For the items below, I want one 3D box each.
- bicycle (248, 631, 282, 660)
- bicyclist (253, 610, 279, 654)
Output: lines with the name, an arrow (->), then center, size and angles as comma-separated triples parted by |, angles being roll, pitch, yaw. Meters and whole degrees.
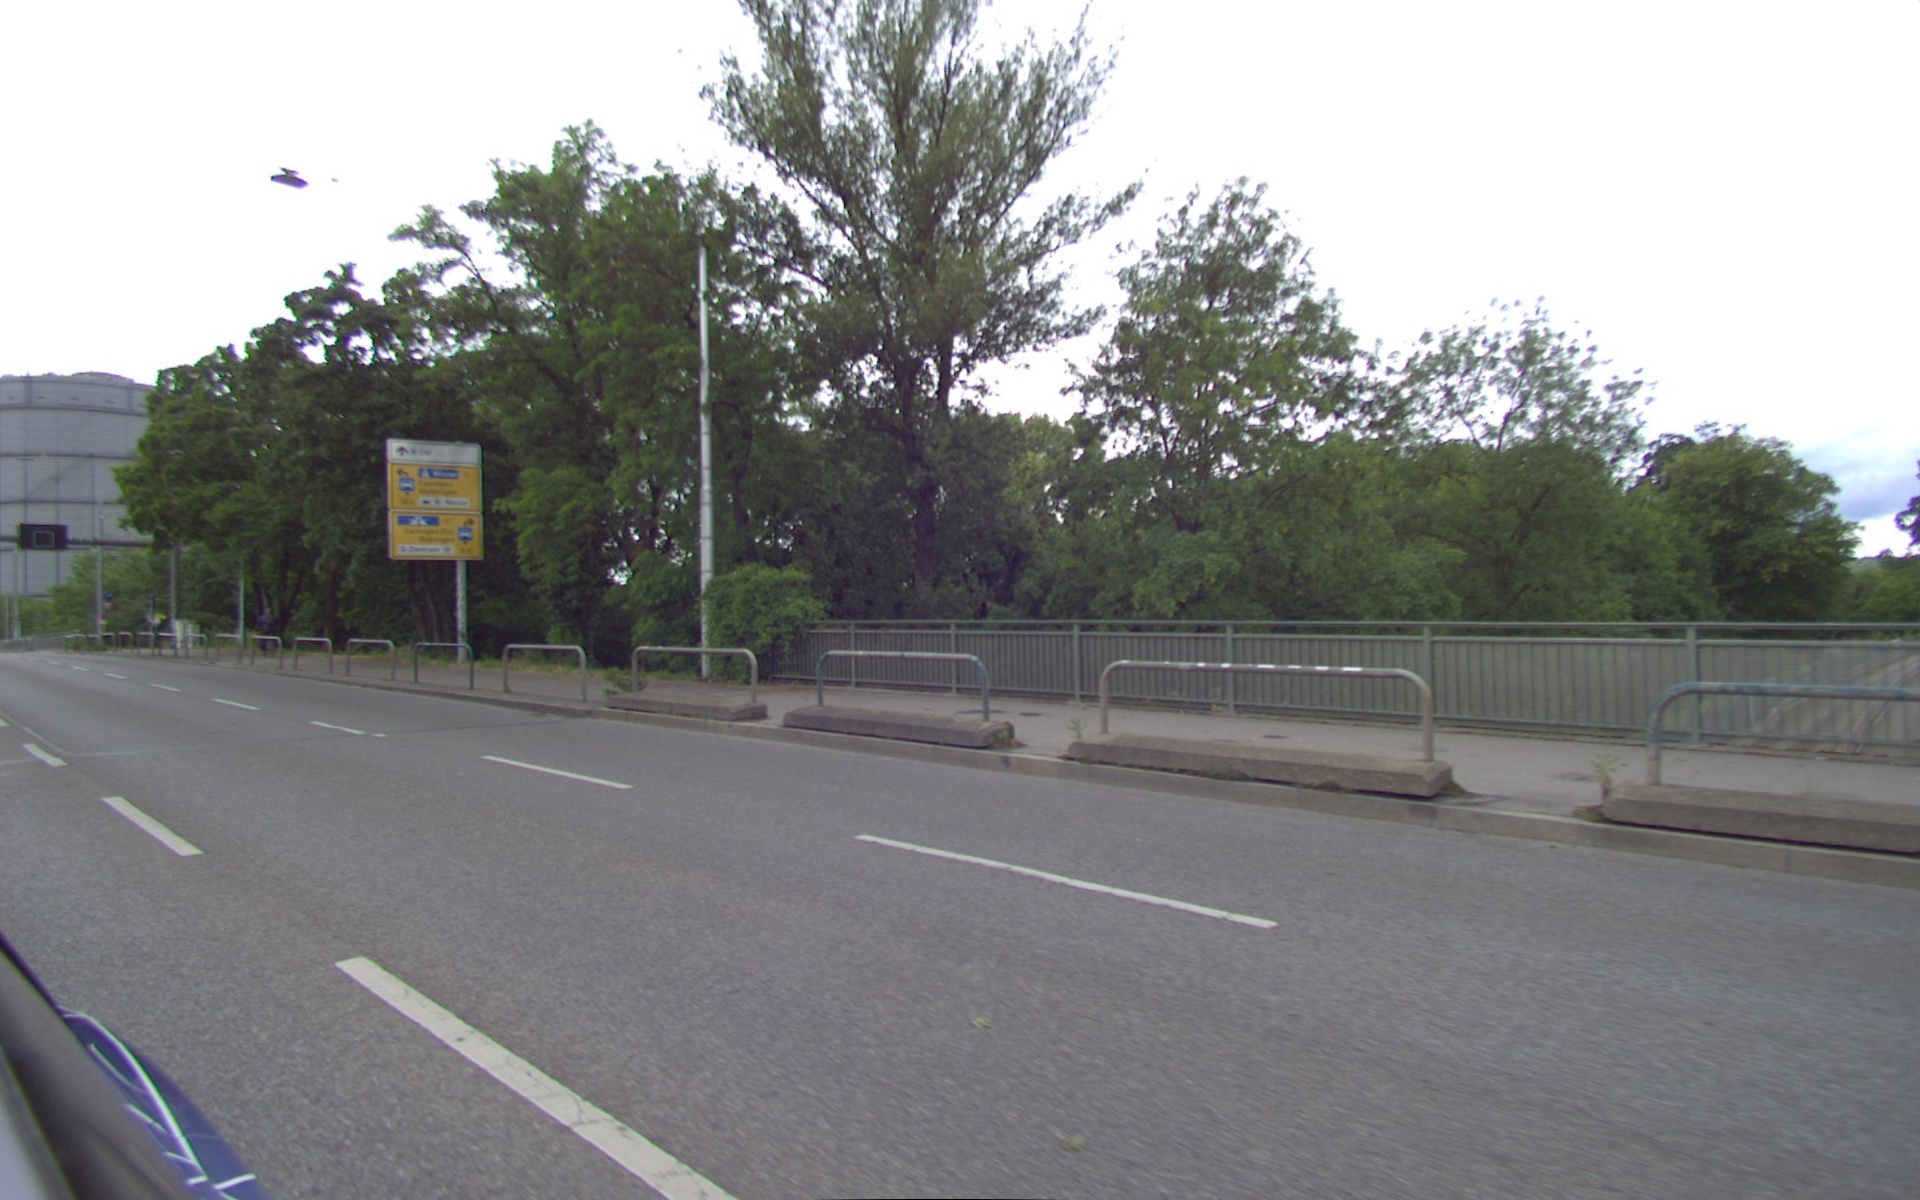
bicycle -> -24.426, 1.581, 35.550 | 2.001, 1.009, 0.479 | -2, -2, 41
bicyclist -> -24.354, 1.125, 35.523 | 0.984, 1.528, 0.509 | -2, -2, 41
